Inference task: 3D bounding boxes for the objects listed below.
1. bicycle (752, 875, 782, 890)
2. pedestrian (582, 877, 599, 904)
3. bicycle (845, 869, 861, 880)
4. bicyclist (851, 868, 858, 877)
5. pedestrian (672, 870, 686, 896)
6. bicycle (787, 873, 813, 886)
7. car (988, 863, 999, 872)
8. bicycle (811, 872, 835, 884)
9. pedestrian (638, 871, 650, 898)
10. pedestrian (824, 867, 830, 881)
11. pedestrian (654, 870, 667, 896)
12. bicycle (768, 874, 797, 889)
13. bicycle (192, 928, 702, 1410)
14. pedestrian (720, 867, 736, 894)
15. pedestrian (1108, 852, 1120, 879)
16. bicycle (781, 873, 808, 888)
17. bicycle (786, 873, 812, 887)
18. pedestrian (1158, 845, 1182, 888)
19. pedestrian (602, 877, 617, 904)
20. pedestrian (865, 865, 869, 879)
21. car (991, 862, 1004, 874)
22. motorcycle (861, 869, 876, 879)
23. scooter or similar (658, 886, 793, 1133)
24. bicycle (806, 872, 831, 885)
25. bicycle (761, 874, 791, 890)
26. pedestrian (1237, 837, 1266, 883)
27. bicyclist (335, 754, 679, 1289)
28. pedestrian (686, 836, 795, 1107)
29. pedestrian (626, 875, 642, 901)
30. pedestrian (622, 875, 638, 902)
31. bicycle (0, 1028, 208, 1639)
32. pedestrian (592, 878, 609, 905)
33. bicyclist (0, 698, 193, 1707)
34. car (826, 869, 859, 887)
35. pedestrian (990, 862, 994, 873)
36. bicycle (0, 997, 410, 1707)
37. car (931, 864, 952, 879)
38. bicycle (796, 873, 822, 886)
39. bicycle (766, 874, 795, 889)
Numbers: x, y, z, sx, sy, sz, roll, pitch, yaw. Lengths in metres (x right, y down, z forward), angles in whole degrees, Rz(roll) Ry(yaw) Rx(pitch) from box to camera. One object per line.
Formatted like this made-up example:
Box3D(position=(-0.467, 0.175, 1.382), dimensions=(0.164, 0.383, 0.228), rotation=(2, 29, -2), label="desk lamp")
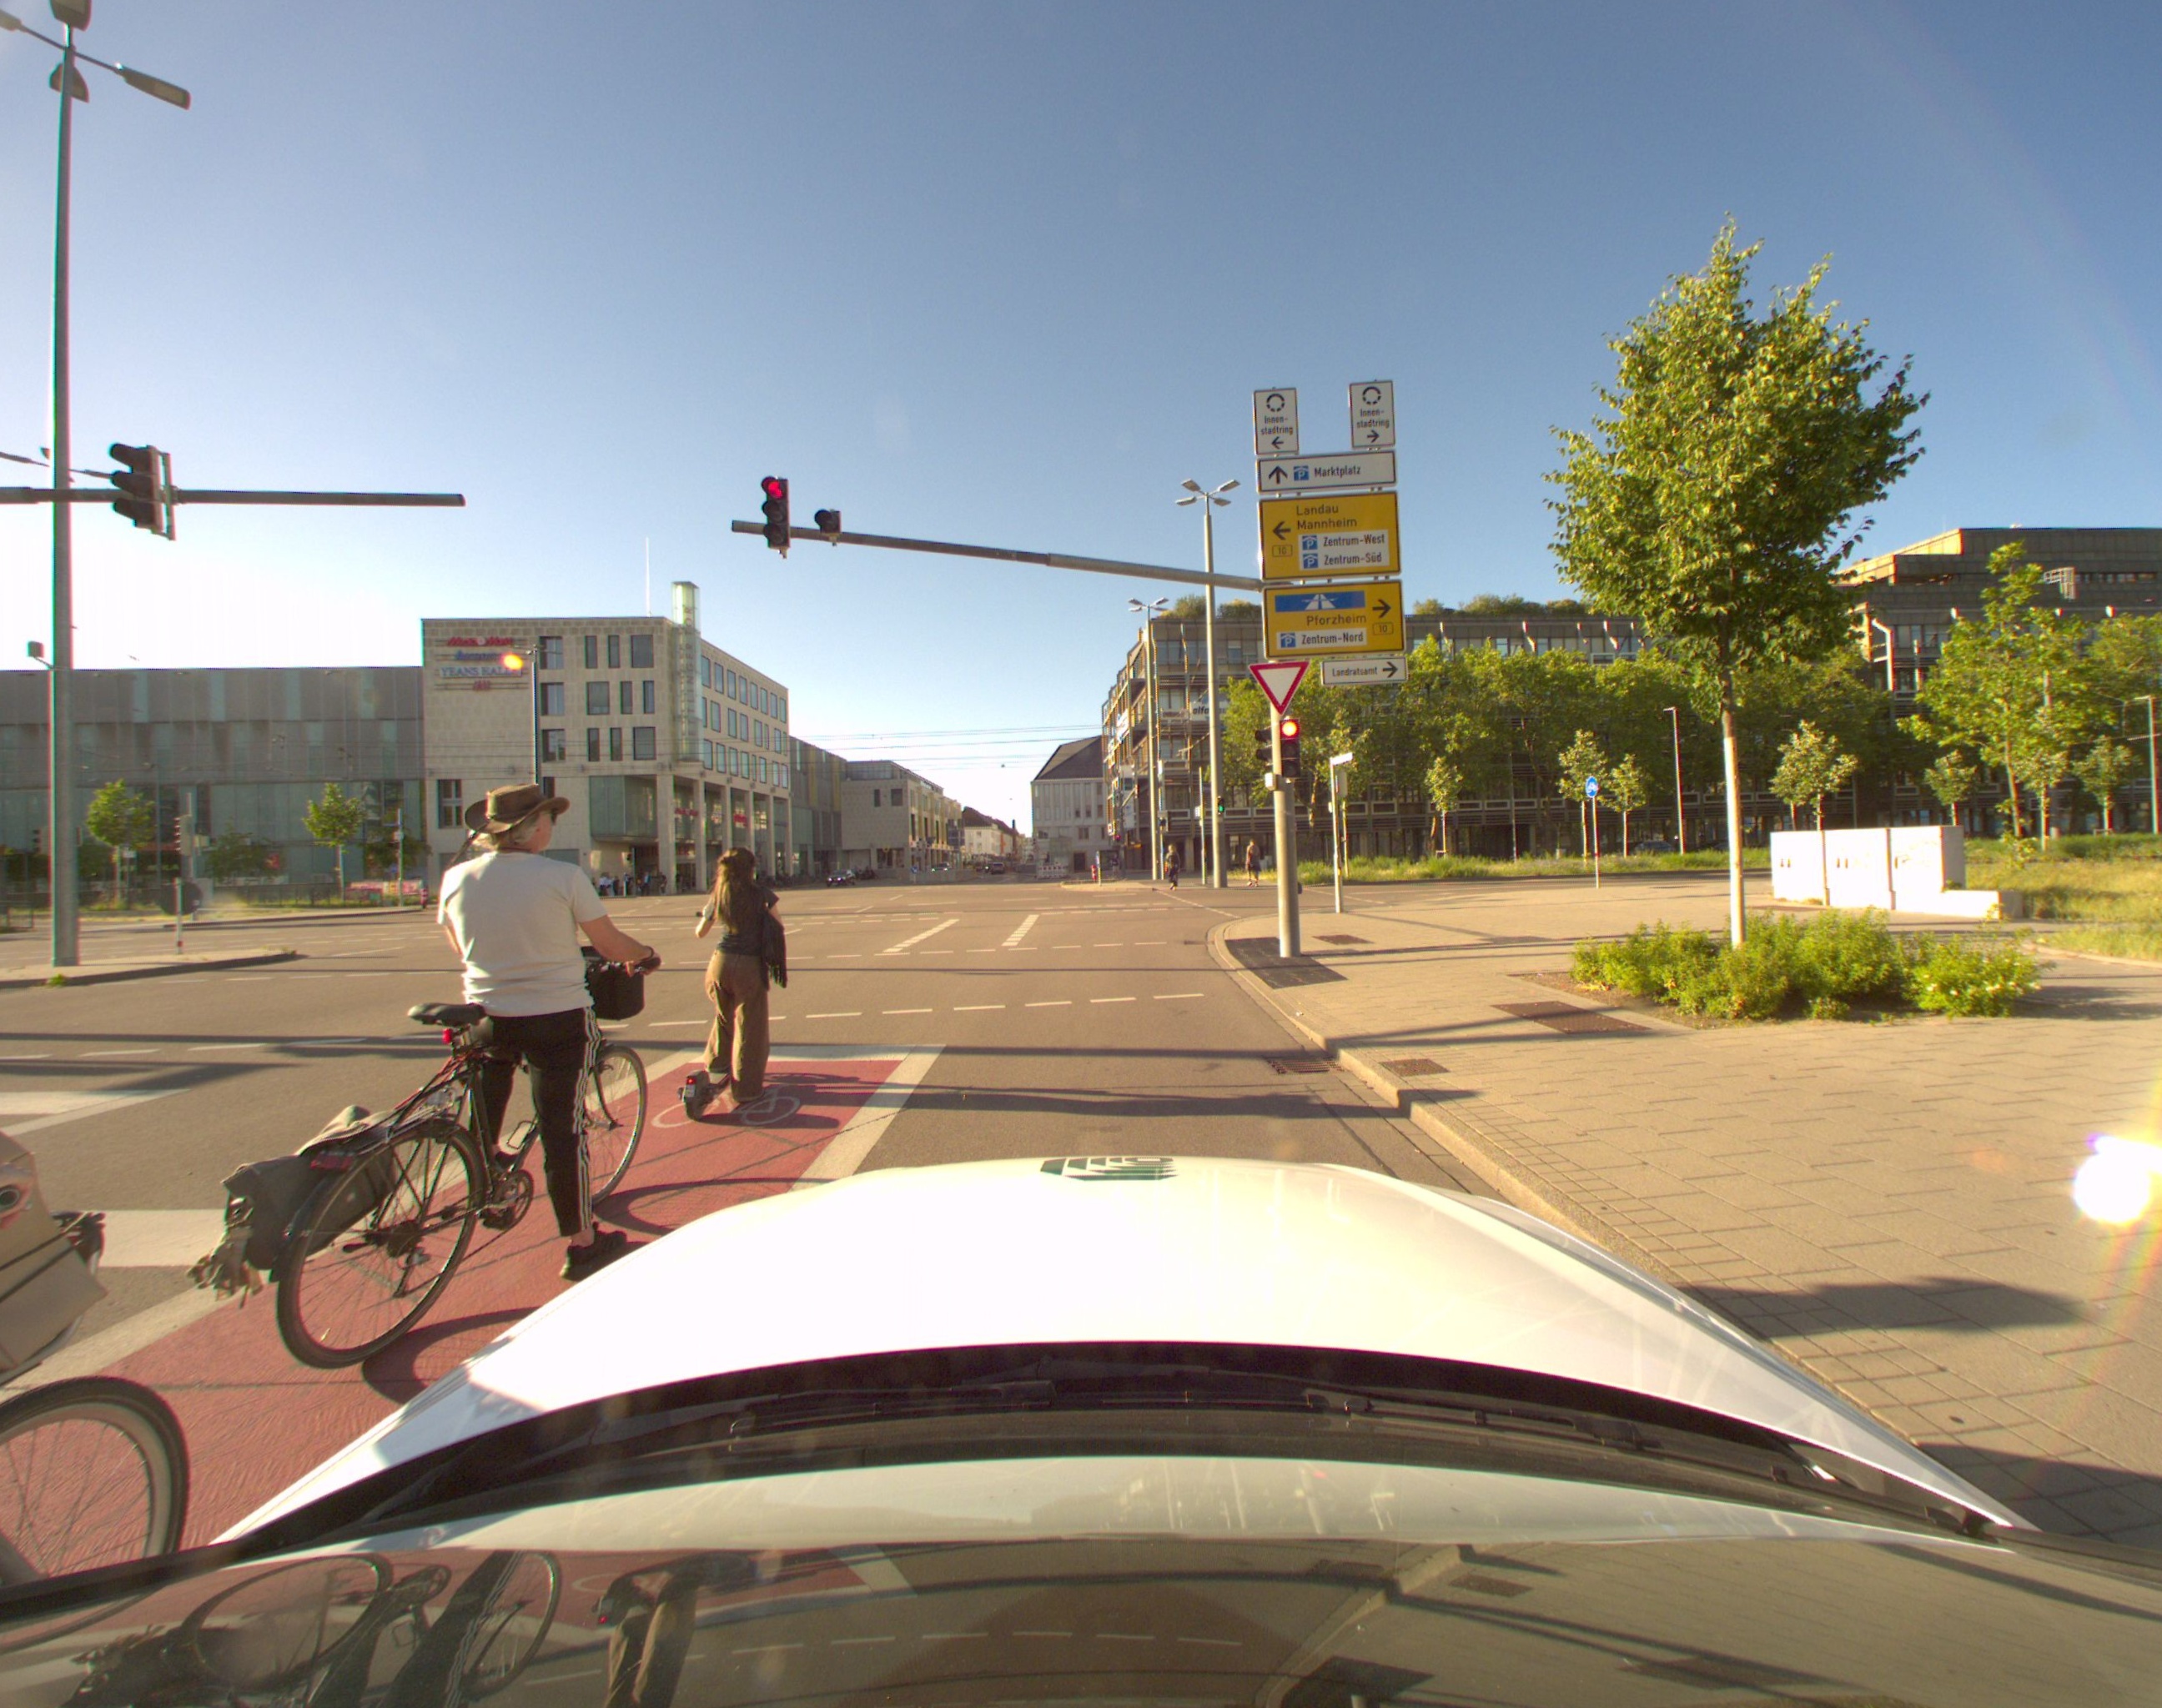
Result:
Box3D(position=(-26.736, 2.415, 69.378), dimensions=(2.299, 1.222, 0.612), rotation=(-2, -1, -1), label="bicycle")
Box3D(position=(-35.151, 2.601, 58.351), dimensions=(0.783, 1.885, 0.716), rotation=(0, -1, -4), label="pedestrian")
Box3D(position=(-26.623, 2.367, 95.124), dimensions=(0.505, 1.206, 1.821), rotation=(-1, 0, 44), label="bicycle")
Box3D(position=(-26.474, 2.156, 95.263), dimensions=(0.505, 1.084, 0.629), rotation=(-1, 0, 44), label="bicyclist")
Box3D(position=(-29.109, 2.071, 58.943), dimensions=(0.801, 1.843, 0.855), rotation=(-2, 0, -30), label="pedestrian")
Box3D(position=(-27.631, 2.512, 80.129), dimensions=(2.299, 1.222, 0.612), rotation=(-2, -1, -1), label="bicycle")
Box3D(position=(-16.206, 2.502, 151.234), dimensions=(1.793, 1.657, 3.997), rotation=(0, -1, -2), label="car")
Box3D(position=(-27.424, 2.566, 86.650), dimensions=(2.299, 1.222, 0.612), rotation=(-2, -1, -1), label="bicycle")
Box3D(position=(-31.213, 2.171, 58.229), dimensions=(0.718, 1.885, 0.781), rotation=(0, -1, -25), label="pedestrian")
Box3D(position=(-31.164, 2.404, 99.956), dimensions=(0.570, 1.679, 0.614), rotation=(0, 0, -8), label="pedestrian")
Box3D(position=(-30.796, 2.123, 59.670), dimensions=(0.800, 1.843, 0.856), rotation=(-2, 0, -26), label="pedestrian")
Box3D(position=(-26.742, 2.445, 72.899), dimensions=(2.299, 1.222, 0.612), rotation=(-2, -1, -1), label="bicycle")
Box3D(position=(-2.156, 0.943, 3.139), dimensions=(0.483, 1.156, 1.832), rotation=(0, -1, 2), label="bicycle")
Box3D(position=(-26.529, 2.002, 61.216), dimensions=(0.883, 2.014, 0.771), rotation=(0, -1, -9), label="pedestrian")
Box3D(position=(2.321, 0.824, 57.413), dimensions=(0.785, 1.890, 0.644), rotation=(0, -1, 1), label="pedestrian")
Box3D(position=(-26.699, 2.470, 75.967), dimensions=(2.299, 1.222, 0.612), rotation=(-2, -1, -1), label="bicycle")
Box3D(position=(-27.065, 2.491, 78.135), dimensions=(2.299, 1.222, 0.612), rotation=(-2, -1, -1), label="bicycle")
Box3D(position=(3.128, 0.436, 28.587), dimensions=(0.785, 1.492, 0.644), rotation=(0, -1, 1), label="pedestrian")
Box3D(position=(-33.995, 2.628, 58.724), dimensions=(0.714, 1.885, 0.786), rotation=(0, -1, -6), label="pedestrian")
Box3D(position=(-26.101, 2.205, 99.359), dimensions=(0.521, 1.679, 0.580), rotation=(0, 0, -12), label="pedestrian")
Box3D(position=(-11.136, 1.876, 108.657), dimensions=(1.735, 1.531, 3.848), rotation=(0, -1, -5), label="car")
Box3D(position=(-25.781, 2.444, 98.742), dimensions=(1.807, 1.206, 0.509), rotation=(0, 0, -14), label="motorcycle")
Box3D(position=(-2.165, 0.871, 5.076), dimensions=(0.547, 1.294, 1.188), rotation=(0, -1, -13), label="scooter or similar")
Box3D(position=(-27.589, 2.558, 85.585), dimensions=(2.299, 1.222, 0.612), rotation=(-2, -1, -1), label="bicycle")
Box3D(position=(-26.465, 2.424, 70.655), dimensions=(2.299, 1.222, 0.612), rotation=(-2, -1, -1), label="bicycle")
Box3D(position=(6.243, 0.223, 29.862), dimensions=(0.875, 1.665, 0.965), rotation=(0, -1, 1), label="pedestrian")
Box3D(position=(-2.064, 0.543, 3.062), dimensions=(0.658, 1.720, 0.866), rotation=(0, -1, 1), label="bicyclist")
Box3D(position=(-2.171, 0.706, 5.244), dimensions=(0.549, 1.633, 0.569), rotation=(0, -1, -13), label="pedestrian")
Box3D(position=(-32.516, 2.472, 59.247), dimensions=(0.783, 1.885, 0.716), rotation=(0, -1, -4), label="pedestrian")
Box3D(position=(-31.950, 2.455, 57.696), dimensions=(0.783, 1.885, 0.716), rotation=(0, -1, -4), label="pedestrian")
Box3D(position=(-2.431, 0.981, 0.981), dimensions=(0.645, 1.109, 1.970), rotation=(0, 0, -1), label="bicycle")
Box3D(position=(-33.872, 2.616, 57.377), dimensions=(0.783, 1.885, 0.716), rotation=(0, -1, -4), label="pedestrian")
Box3D(position=(-1.703, 0.592, 0.825), dimensions=(0.639, 1.579, 0.875), rotation=(0, 0, -1), label="bicyclist")
Box3D(position=(-20.627, 2.059, 70.510), dimensions=(1.625, 1.342, 3.999), rotation=(-4, -1, 0), label="car")
Box3D(position=(-12.819, 1.961, 117.483), dimensions=(0.520, 1.679, 0.582), rotation=(0, 0, -5), label="pedestrian")
Box3D(position=(-1.703, 0.912, 0.780), dimensions=(0.614, 1.218, 1.831), rotation=(0, 0, -1), label="bicycle")
Box3D(position=(-16.284, 2.038, 95.214), dimensions=(1.793, 1.657, 3.997), rotation=(0, -1, -2), label="car")
Box3D(position=(-27.186, 2.519, 81.346), dimensions=(2.299, 1.222, 0.612), rotation=(-2, -1, -1), label="bicycle")
Box3D(position=(-26.567, 2.436, 72.014), dimensions=(2.299, 1.222, 0.612), rotation=(-2, -1, -1), label="bicycle")
